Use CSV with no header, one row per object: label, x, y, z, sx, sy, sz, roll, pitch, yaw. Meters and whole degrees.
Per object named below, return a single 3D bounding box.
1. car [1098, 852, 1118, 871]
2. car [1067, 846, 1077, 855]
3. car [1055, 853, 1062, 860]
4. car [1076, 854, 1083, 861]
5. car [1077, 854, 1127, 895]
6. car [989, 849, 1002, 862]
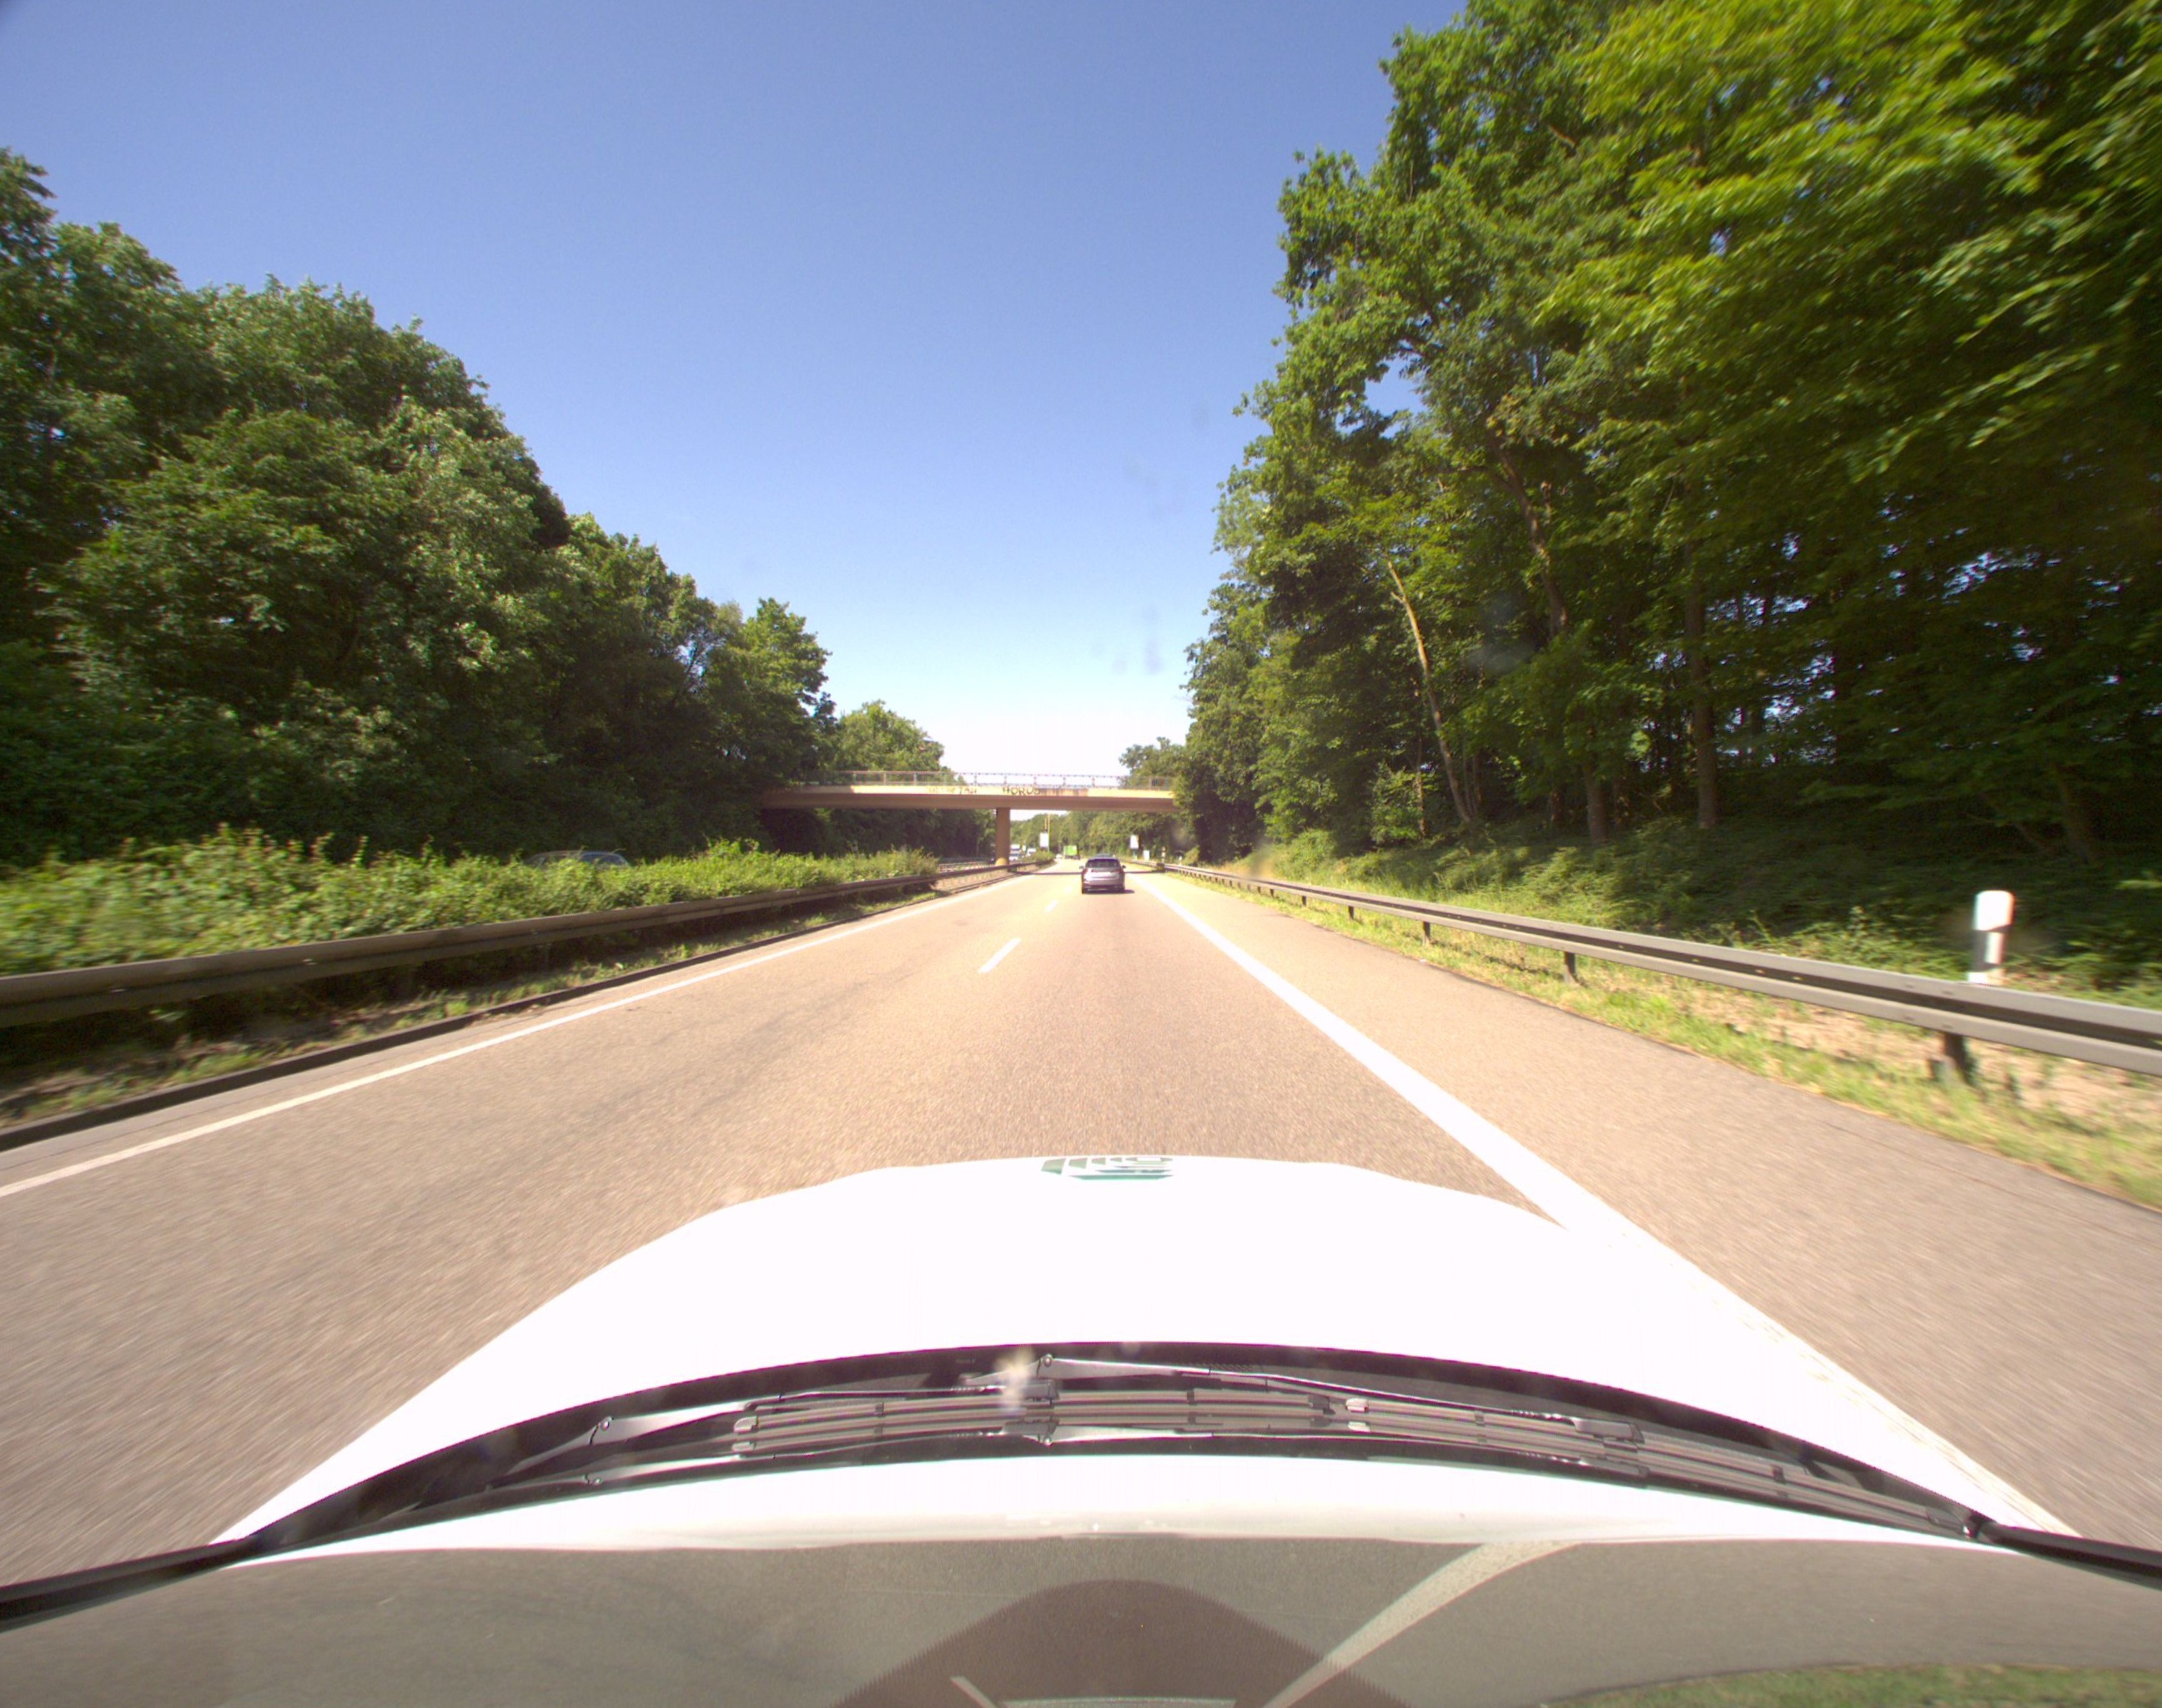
car,2.153,0.572,65.171,1.516,1.446,3.343,0,0,3
car,-2.711,-1.032,236.979,2.738,2.654,4.001,0,0,2
car,-6.783,0.851,249.449,1.986,2.013,4.002,0,0,2
car,-0.374,0.889,209.629,1.757,2.013,3.589,0,0,2
car,0.875,0.767,32.182,1.832,1.472,3.627,0,0,3
car,-14.475,0.260,138.017,1.772,2.013,4.002,0,0,2
